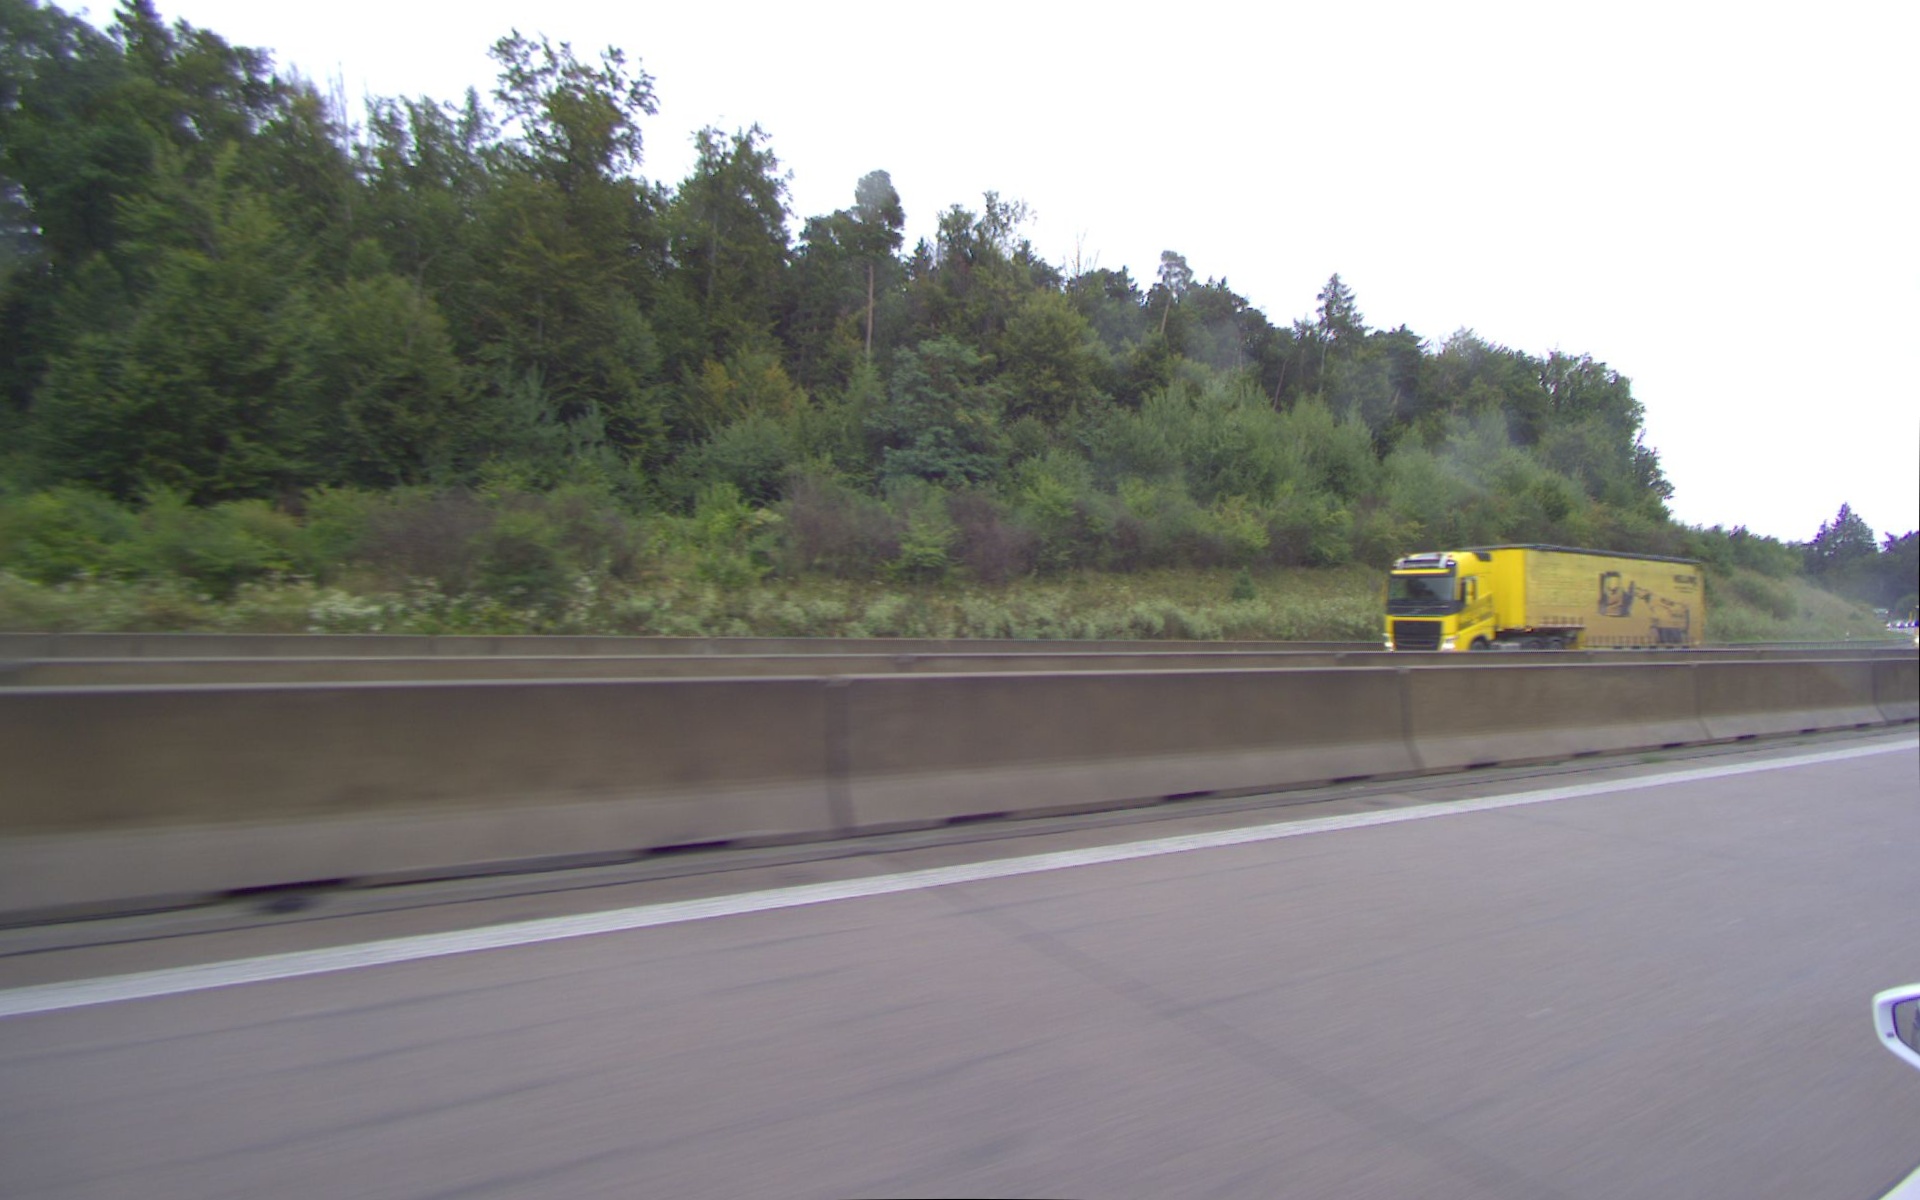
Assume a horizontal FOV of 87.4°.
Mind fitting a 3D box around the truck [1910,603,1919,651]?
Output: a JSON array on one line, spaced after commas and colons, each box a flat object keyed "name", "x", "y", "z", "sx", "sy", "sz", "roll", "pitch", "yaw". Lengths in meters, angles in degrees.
[{"name": "truck", "x": 71.917, "y": 2.015, "z": 72.929, "sx": 9.290, "sy": 3.340, "sz": 2.604, "roll": 2, "pitch": -1, "yaw": -36}]

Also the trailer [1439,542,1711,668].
[{"name": "trailer", "x": 22.599, "y": 0.293, "z": 36.357, "sx": 13.557, "sy": 3.926, "sz": 2.996, "roll": 2, "pitch": 0, "yaw": -34}]

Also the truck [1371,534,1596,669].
[{"name": "truck", "x": 17.151, "y": 0.129, "z": 32.693, "sx": 8.033, "sy": 3.926, "sz": 3.007, "roll": 2, "pitch": 0, "yaw": -34}]

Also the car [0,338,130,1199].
[{"name": "car", "x": -4.735, "y": 0.376, "z": 0.722, "sx": 6.090, "sy": 1.971, "sz": 1.898, "roll": 1, "pitch": 0, "yaw": -31}]
